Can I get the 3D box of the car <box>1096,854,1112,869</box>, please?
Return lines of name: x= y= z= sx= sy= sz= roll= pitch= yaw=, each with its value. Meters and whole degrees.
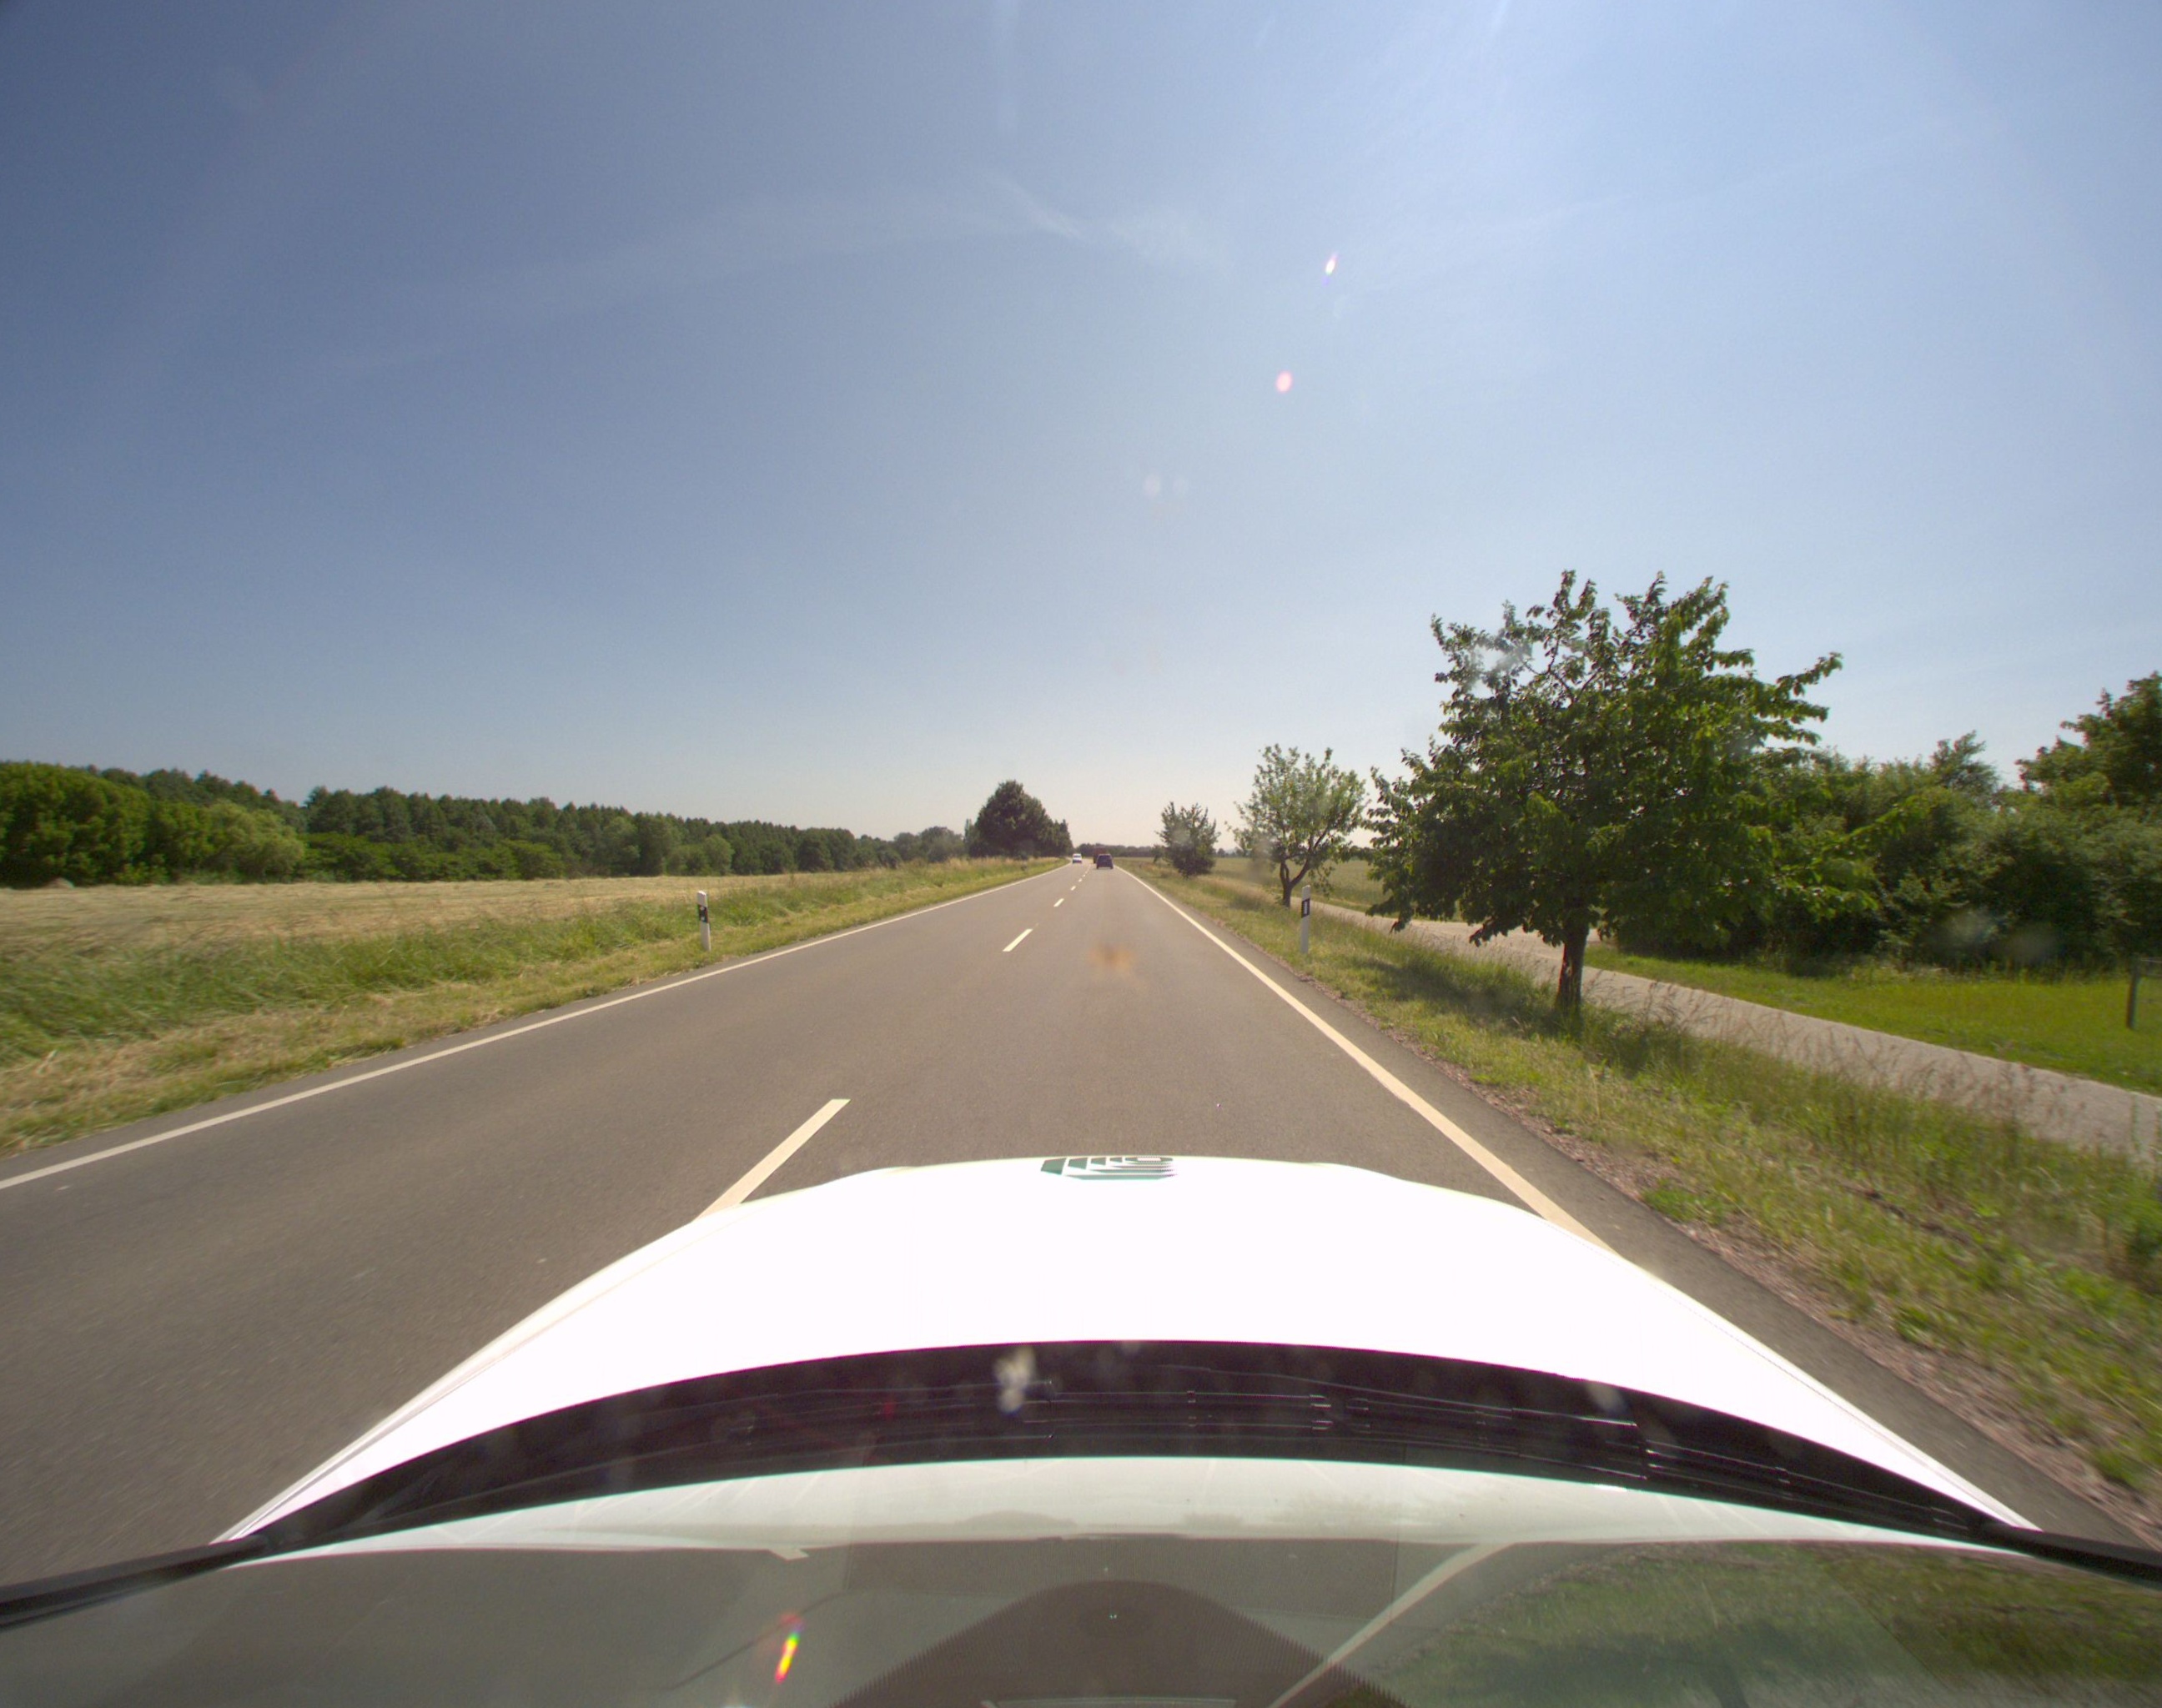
car: x=2.653 y=0.835 z=92.212 sx=1.708 sy=1.694 sz=3.991 roll=0 pitch=-1 yaw=3

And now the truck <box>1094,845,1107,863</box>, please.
truck: x=3.578 y=-0.001 z=153.898 sx=2.362 sy=3.140 sz=8.748 roll=1 pitch=0 yaw=1

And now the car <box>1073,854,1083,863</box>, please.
car: x=-0.574 y=0.904 z=153.172 sx=1.780 sy=1.728 sz=4.306 roll=0 pitch=0 yaw=2
